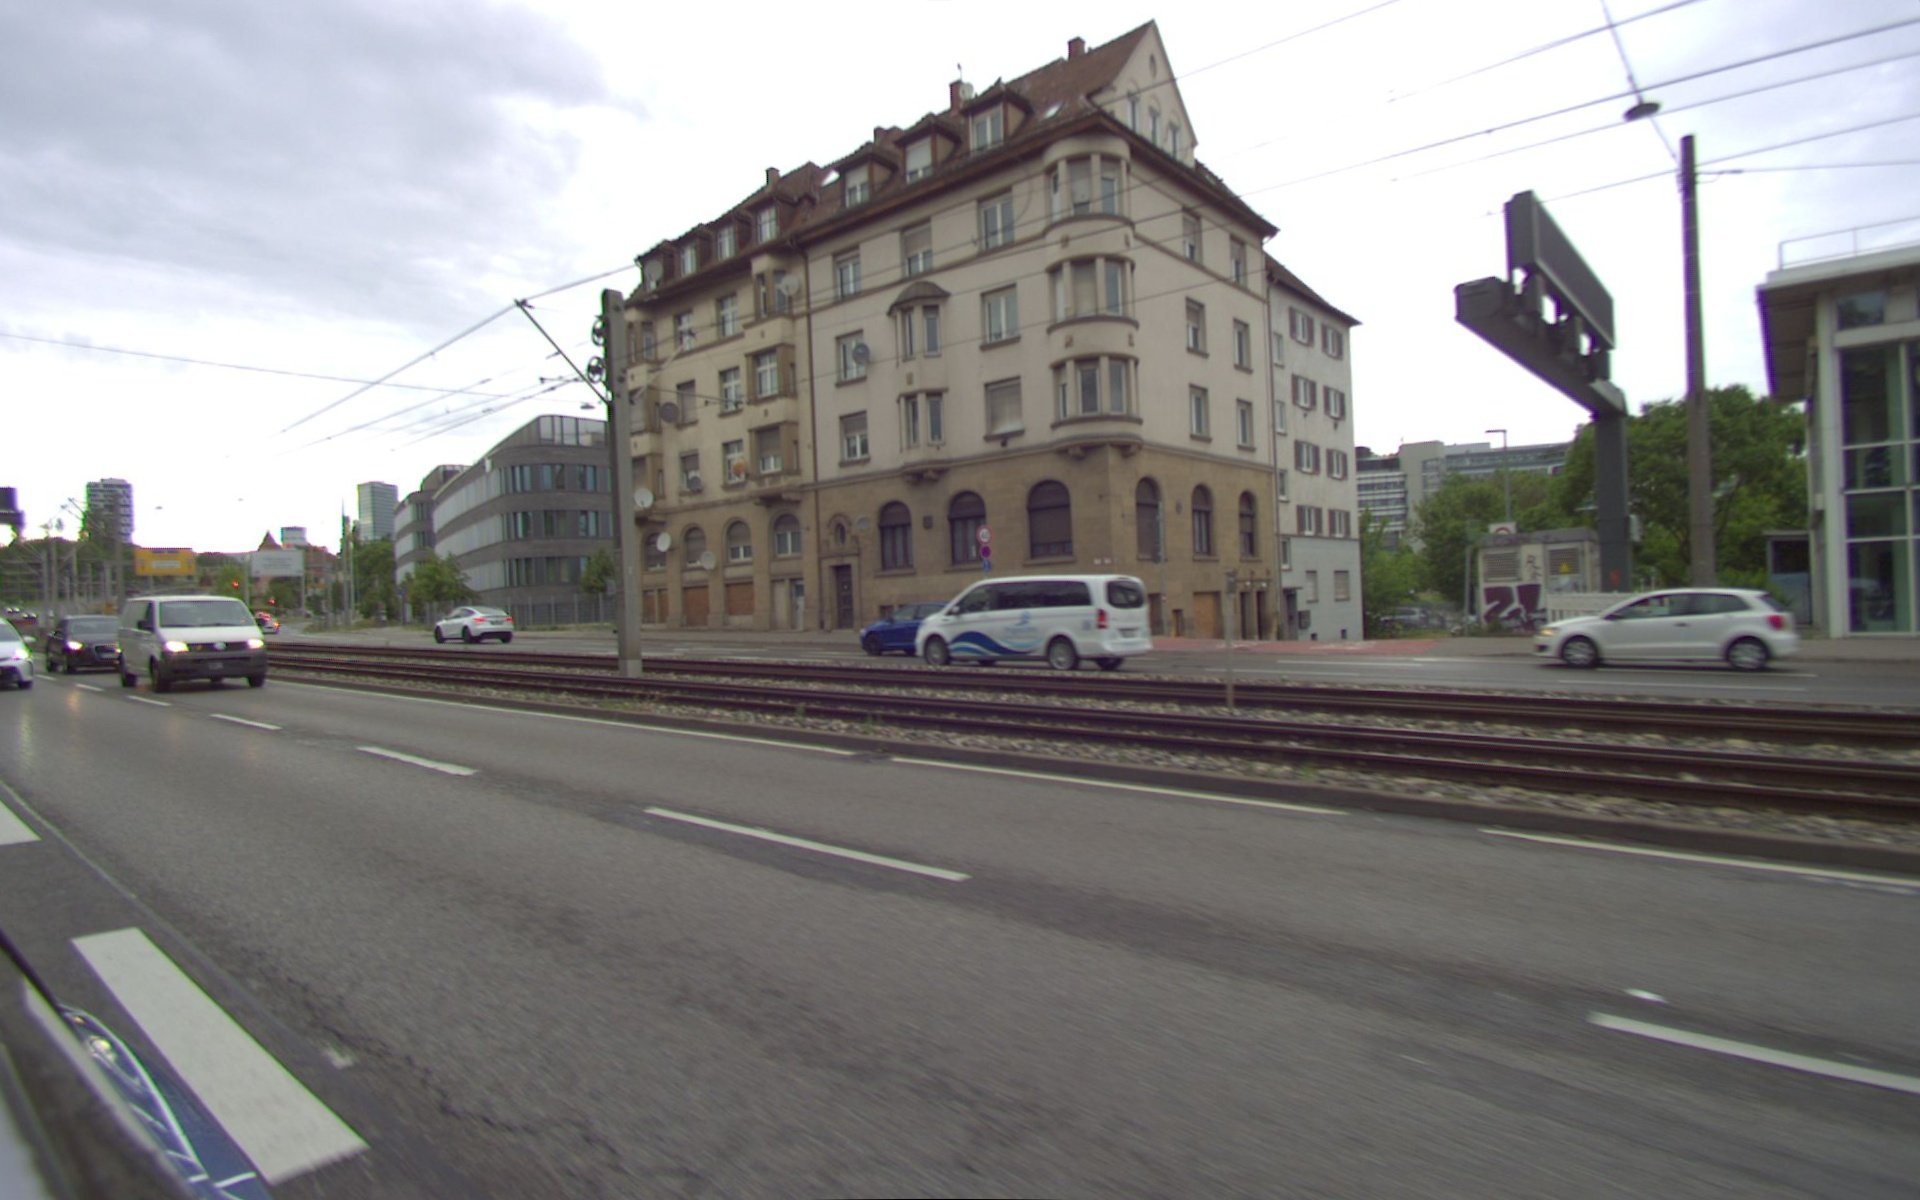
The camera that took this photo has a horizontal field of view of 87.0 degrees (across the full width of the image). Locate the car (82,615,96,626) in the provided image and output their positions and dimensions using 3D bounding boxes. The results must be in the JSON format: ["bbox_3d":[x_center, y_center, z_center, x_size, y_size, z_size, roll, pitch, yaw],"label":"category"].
[{"bbox_3d":[-162.533,3.843,188.887,1.969,1.962,4.006,0,0,-41],"label":"car"}]

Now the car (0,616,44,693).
[{"bbox_3d":[-21.894,1.189,22.348,4.316,1.585,1.956,-1,0,41],"label":"car"}]

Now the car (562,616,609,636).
[{"bbox_3d":[-26.481,1.827,71.479,3.566,1.345,1.601,-1,0,41],"label":"car"}]

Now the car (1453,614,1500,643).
[{"bbox_3d":[28.766,1.540,56.318,1.609,1.444,4.119,-1,0,37],"label":"car"}]

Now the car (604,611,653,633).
[{"bbox_3d":[-24.677,1.634,75.336,3.786,1.556,1.723,-1,0,41],"label":"car"}]

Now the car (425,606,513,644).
[{"bbox_3d":[-21.749,1.097,44.786,4.739,1.604,1.703,-1,-2,40],"label":"car"}]

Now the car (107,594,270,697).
[{"bbox_3d":[-16.613,0.904,21.699,4.716,1.973,1.889,-1,0,41],"label":"car"}]

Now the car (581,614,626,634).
[{"bbox_3d":[-26.019,1.745,73.917,3.566,1.393,1.525,-1,0,41],"label":"car"}]

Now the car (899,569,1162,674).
[{"bbox_3d":[1.325,0.422,20.699,5.189,1.888,1.973,-1,0,40],"label":"car"}]

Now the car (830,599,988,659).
[{"bbox_3d":[-1.421,0.752,27.145,4.329,1.444,1.589,-1,0,41],"label":"car"}]

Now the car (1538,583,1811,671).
[{"bbox_3d":[12.754,0.463,18.177,3.849,1.415,1.663,-1,0,41],"label":"car"}]

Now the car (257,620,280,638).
[{"bbox_3d":[-70.329,2.967,102.928,1.806,1.811,4.227,1,-2,-33],"label":"car"}]

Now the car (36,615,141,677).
[{"bbox_3d":[-24.539,1.248,28.467,3.894,1.585,1.686,-1,0,41],"label":"car"}]
